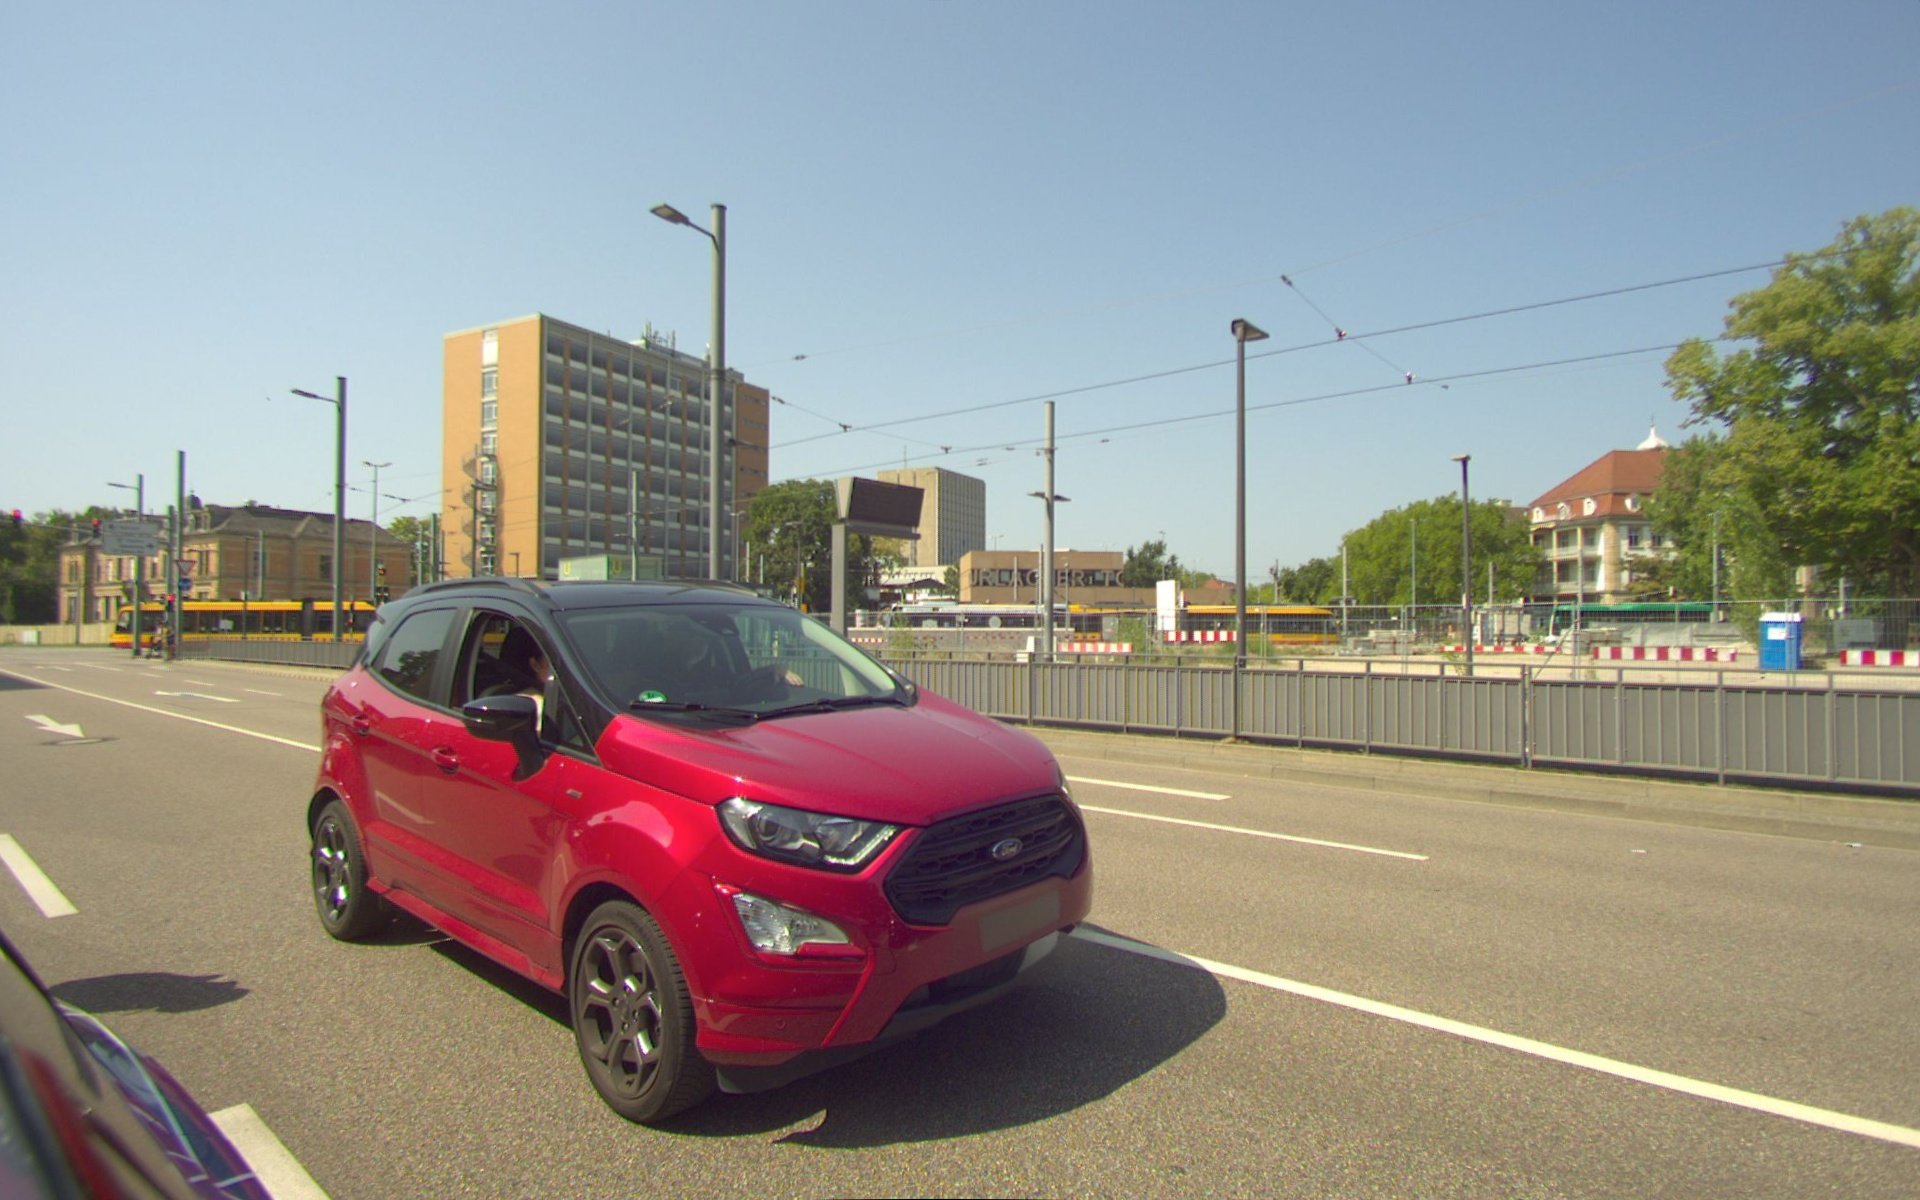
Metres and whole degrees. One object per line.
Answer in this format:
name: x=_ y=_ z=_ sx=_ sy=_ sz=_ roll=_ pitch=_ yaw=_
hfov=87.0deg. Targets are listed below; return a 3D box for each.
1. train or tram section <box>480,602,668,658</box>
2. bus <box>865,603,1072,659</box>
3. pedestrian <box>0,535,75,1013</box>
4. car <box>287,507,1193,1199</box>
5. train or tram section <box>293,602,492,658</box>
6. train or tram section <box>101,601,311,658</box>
train or tram section: x=-26.880 y=2.126 z=70.854 sx=12.179 sy=3.794 sz=2.002 roll=0 pitch=-2 yaw=-5
bus: x=0.446 y=1.985 z=66.266 sx=13.204 sy=3.319 sz=3.355 roll=-1 pitch=-1 yaw=-5
pedestrian: x=-3.927 y=0.633 z=3.423 sx=0.950 sy=1.754 sz=1.243 roll=0 pitch=-2 yaw=-17
car: x=-1.229 y=0.651 z=4.133 sx=3.967 sy=1.633 sz=1.613 roll=-1 pitch=-1 yaw=42
train or tram section: x=-39.015 y=2.075 z=69.852 sx=12.179 sy=3.794 sz=2.002 roll=0 pitch=-2 yaw=-5
train or tram section: x=-51.143 y=2.047 z=68.855 sx=12.179 sy=3.794 sz=2.002 roll=0 pitch=-2 yaw=-5
